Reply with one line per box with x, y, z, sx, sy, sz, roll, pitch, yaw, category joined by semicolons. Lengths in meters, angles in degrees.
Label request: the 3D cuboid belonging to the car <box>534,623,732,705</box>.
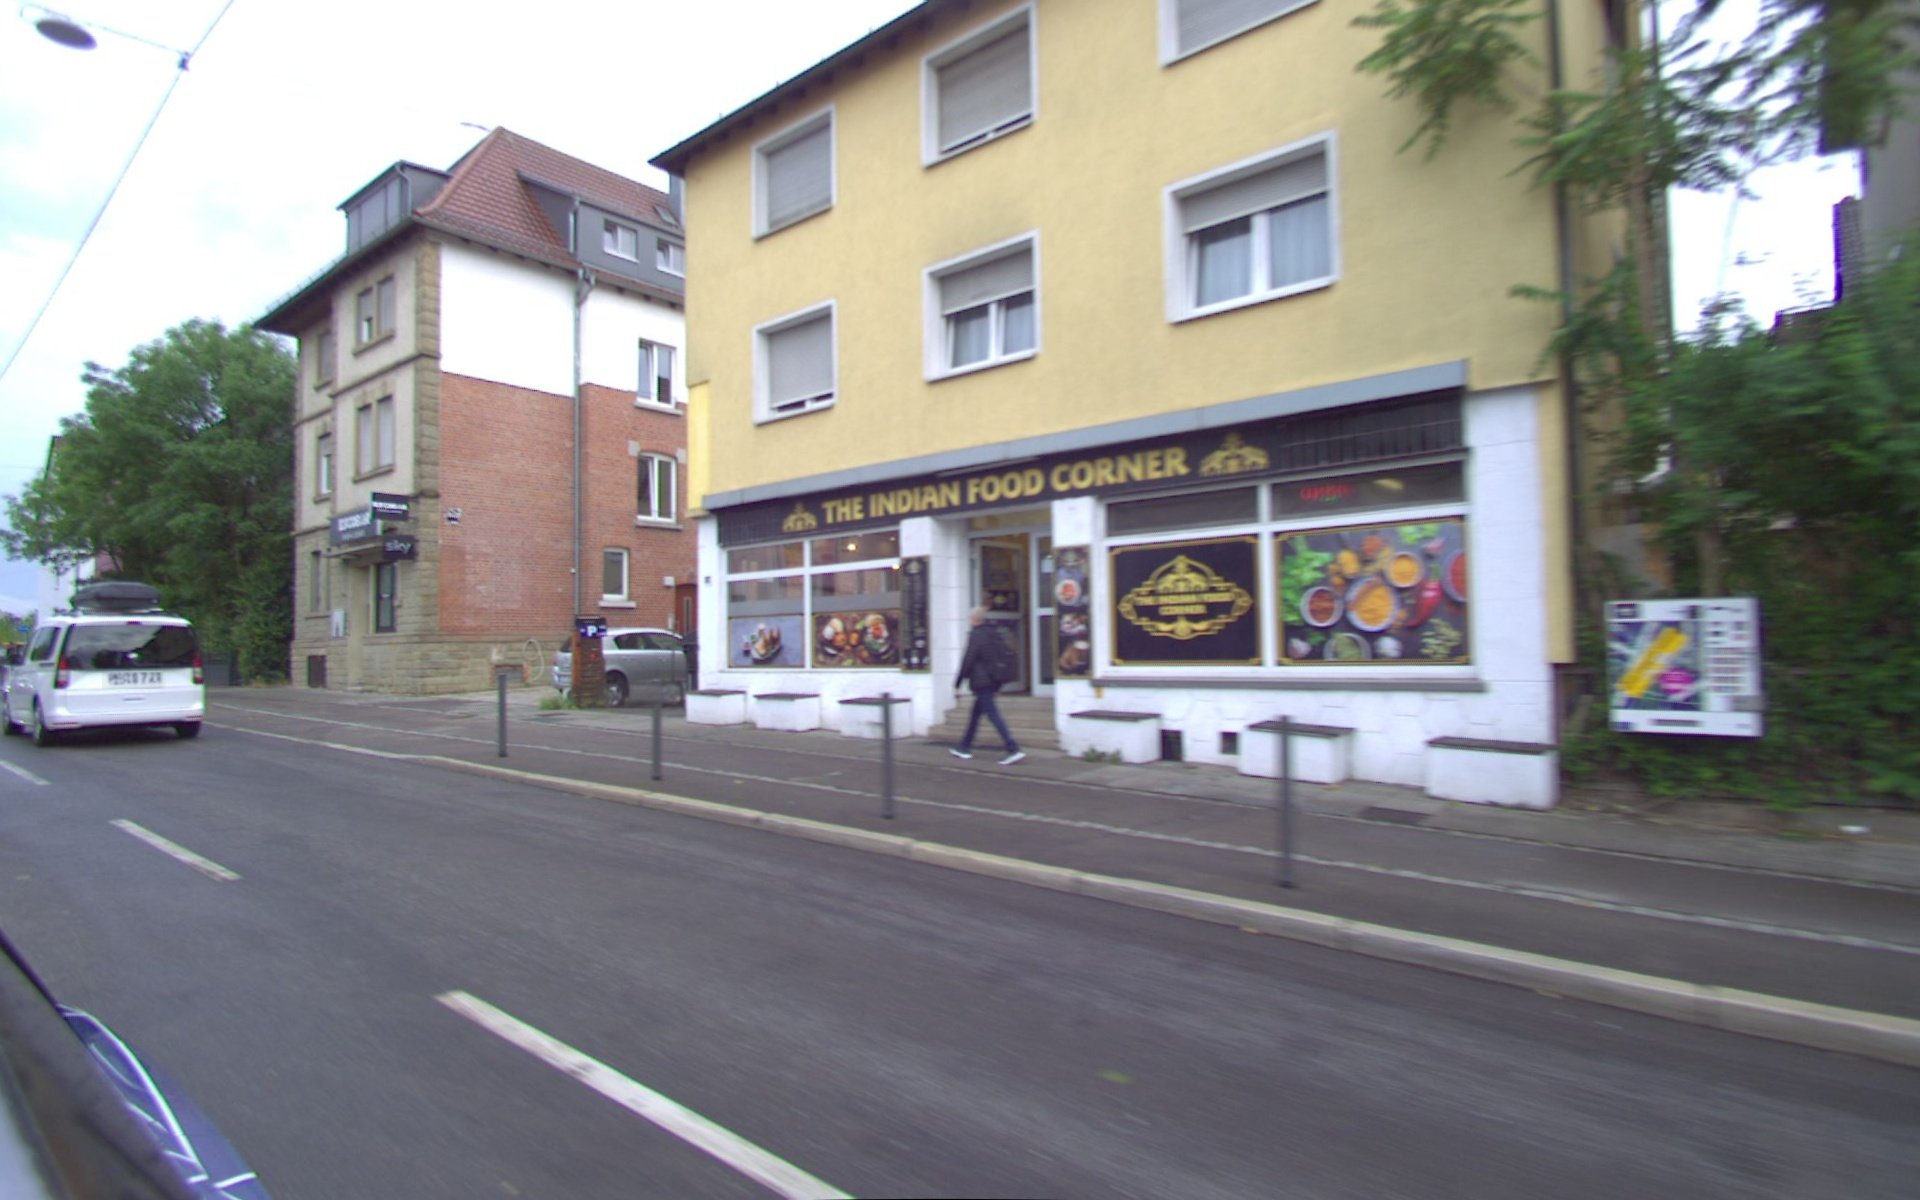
-6.929;1.301;21.676;1.944;1.497;3.530;-3;-1;38;car

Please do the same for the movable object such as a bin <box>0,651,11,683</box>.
-97.682;6.807;101.769;2.787;3.137;4.643;1;-5;-37;movable object such as a bin

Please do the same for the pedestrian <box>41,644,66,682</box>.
-45.788;3.176;51.099;1.115;1.835;0.797;-5;-4;40;pedestrian

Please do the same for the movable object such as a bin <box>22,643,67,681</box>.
-73.359;4.979;81.141;2.101;2.828;4.990;-1;-3;-35;movable object such as a bin

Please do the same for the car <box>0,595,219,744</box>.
-12.791;0.951;15.046;4.450;1.884;1.862;-1;-3;41;car

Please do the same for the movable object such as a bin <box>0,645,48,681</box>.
-107.288;7.280;115.840;2.908;3.873;8.149;0;-4;-32;movable object such as a bin

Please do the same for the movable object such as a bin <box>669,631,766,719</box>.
-4.157;1.260;17.403;0.982;1.413;1.288;-3;-3;40;movable object such as a bin

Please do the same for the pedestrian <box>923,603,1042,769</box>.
0.244;0.884;10.926;0.991;1.692;0.807;-1;-1;38;pedestrian

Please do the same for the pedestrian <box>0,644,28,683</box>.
-47.400;3.189;50.678;1.043;1.897;0.853;-4;-5;38;pedestrian
